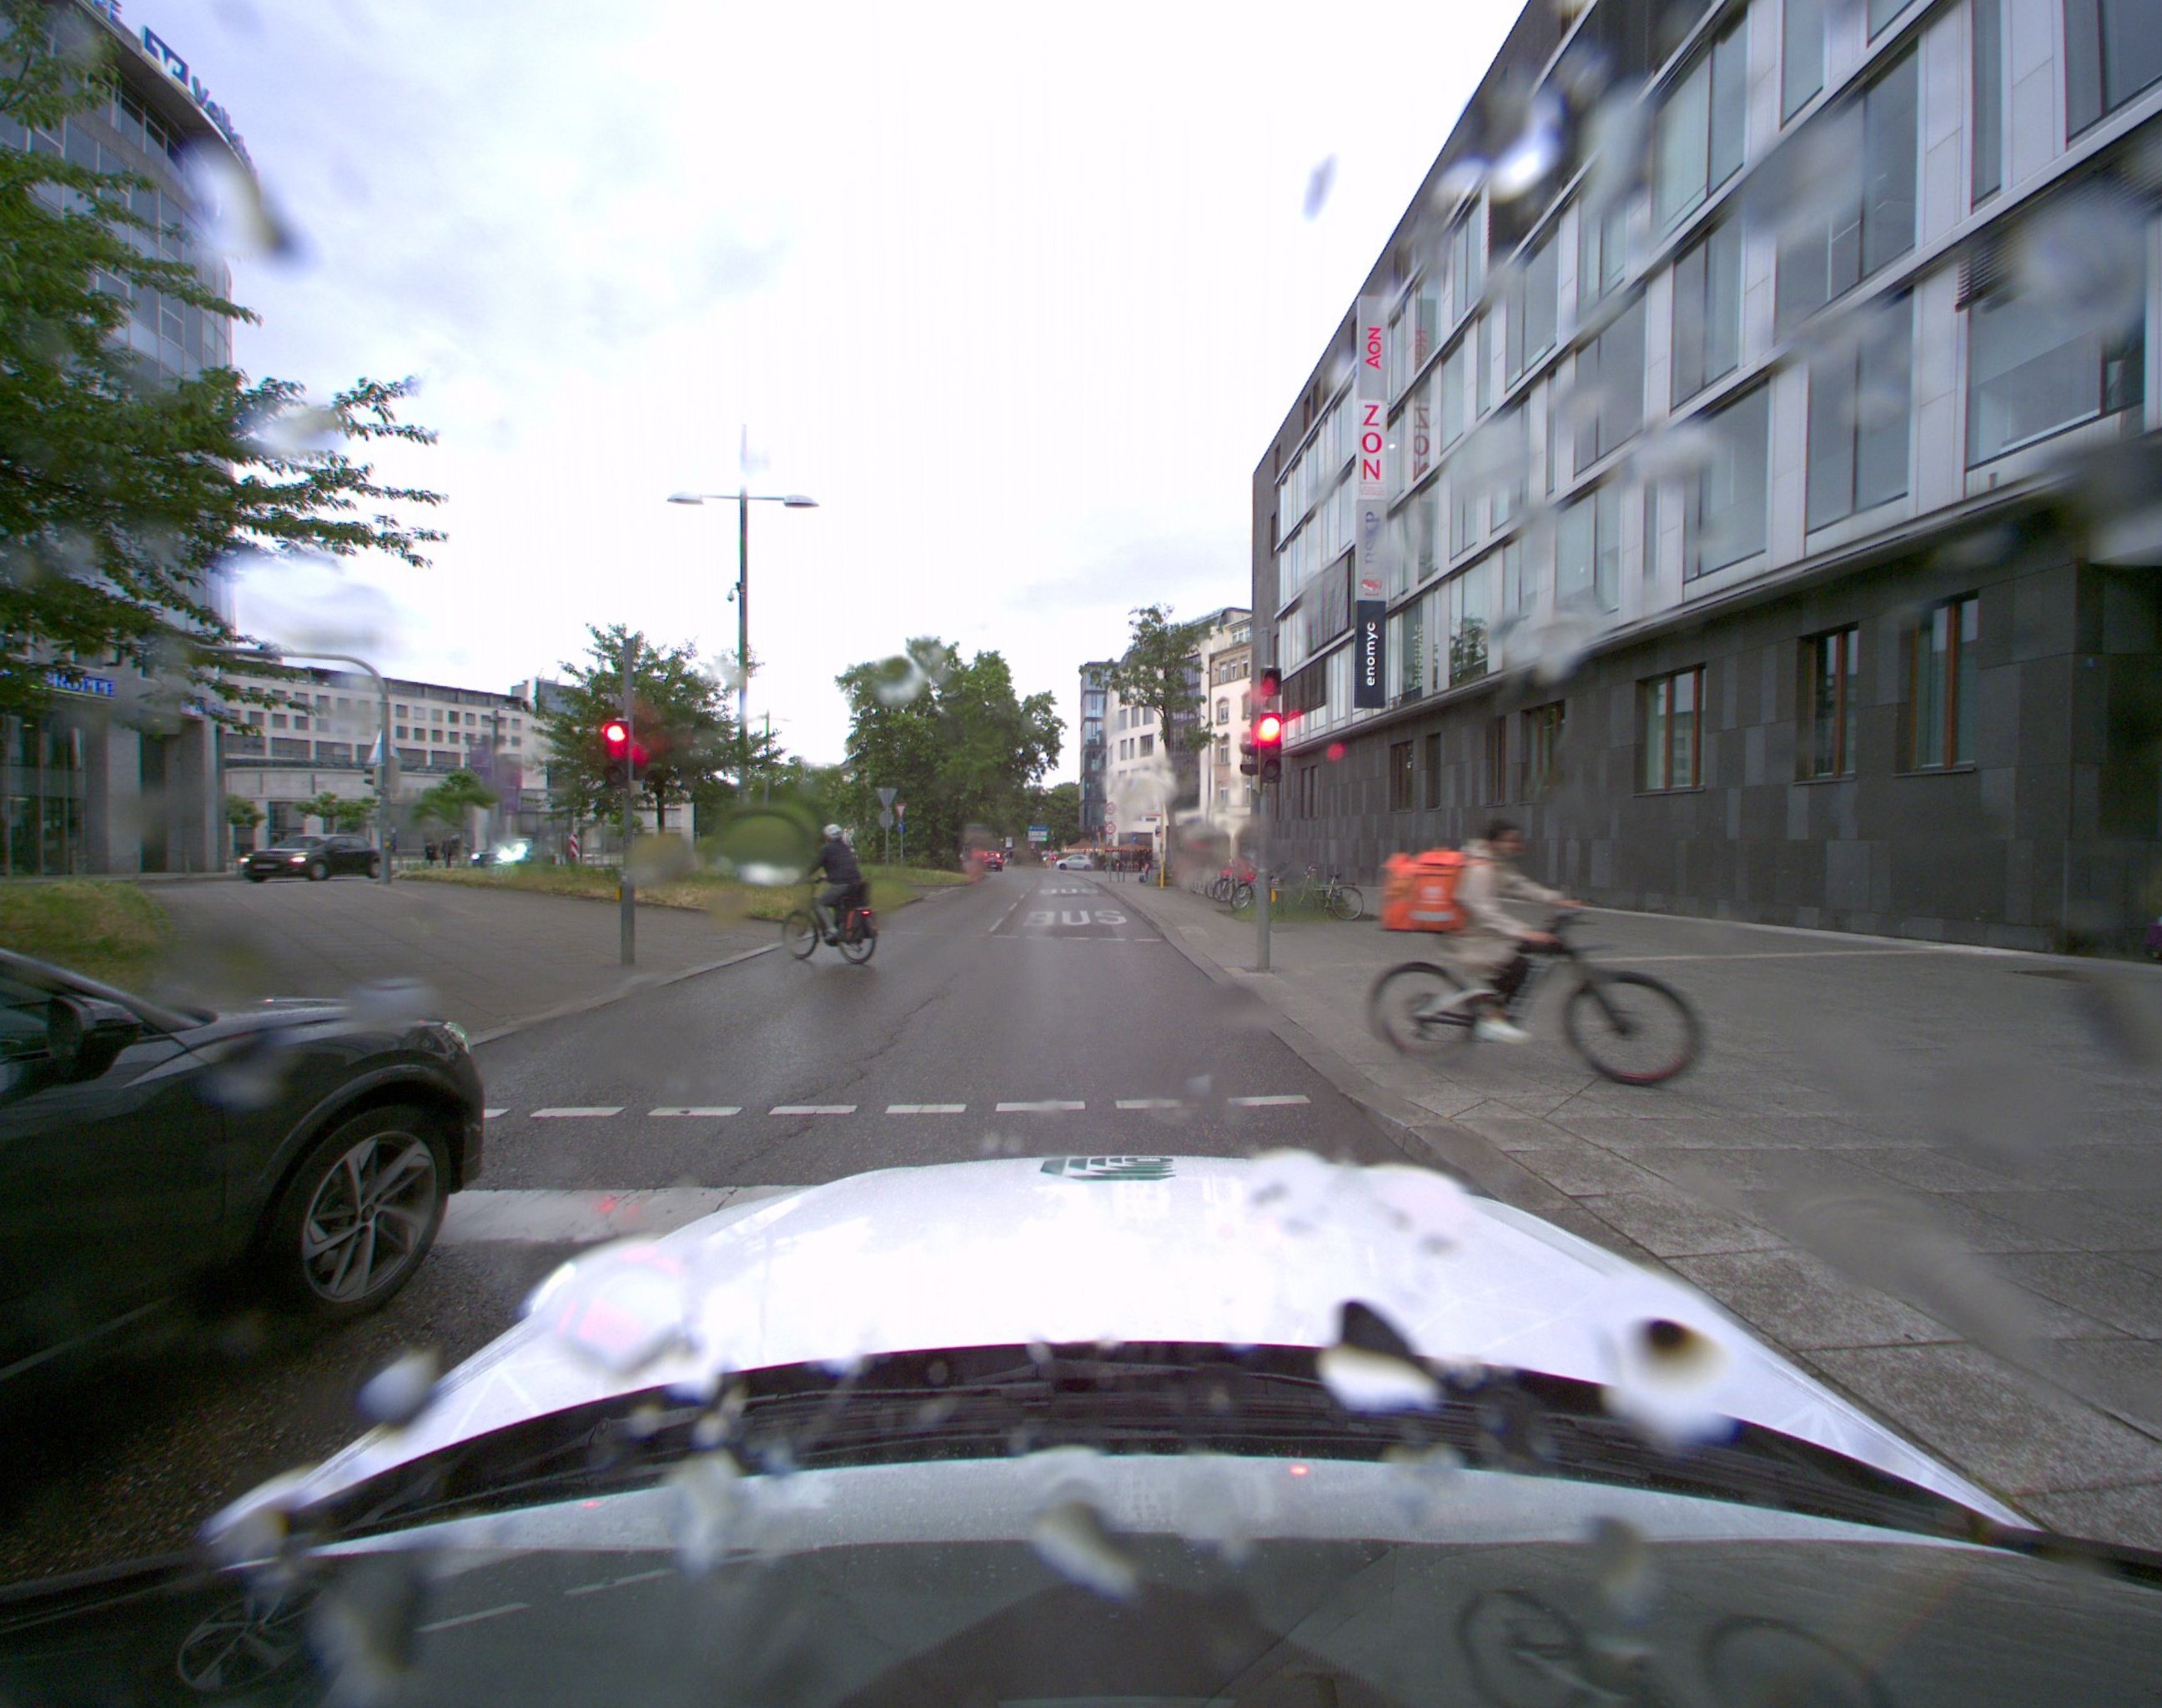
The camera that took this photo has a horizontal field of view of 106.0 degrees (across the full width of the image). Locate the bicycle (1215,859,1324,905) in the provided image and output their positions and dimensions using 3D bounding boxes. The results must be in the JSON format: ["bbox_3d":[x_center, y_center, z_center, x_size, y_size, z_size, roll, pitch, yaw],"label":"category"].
[{"bbox_3d":[4.602,0.676,19.988,2.530,1.087,0.677,-1,0,-3],"label":"bicycle"}]

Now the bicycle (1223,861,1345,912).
[{"bbox_3d":[4.456,0.711,17.961,2.530,1.087,0.677,0,0,-3],"label":"bicycle"}]

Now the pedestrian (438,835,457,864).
[{"bbox_3d":[-39.037,-0.286,50.194,0.621,1.763,0.721,-2,0,-18],"label":"pedestrian"}]

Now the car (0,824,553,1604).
[{"bbox_3d":[-3.141,0.738,1.341,1.843,1.616,4.249,1,1,-2],"label":"car"}]

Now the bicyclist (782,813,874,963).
[{"bbox_3d":[-3.694,0.479,11.898,1.071,2.083,0.768,-1,-1,31],"label":"bicyclist"}]

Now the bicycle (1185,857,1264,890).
[{"bbox_3d":[4.785,0.645,27.197,2.530,1.087,0.677,-1,0,-3],"label":"bicycle"}]

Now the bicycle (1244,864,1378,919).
[{"bbox_3d":[4.636,0.741,16.479,2.530,1.057,0.677,0,0,-3],"label":"bicycle"}]

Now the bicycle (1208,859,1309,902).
[{"bbox_3d":[4.698,0.692,21.652,2.530,1.087,0.677,-1,0,-3],"label":"bicycle"}]

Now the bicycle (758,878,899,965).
[{"bbox_3d":[-3.714,0.945,11.920,2.105,1.145,0.768,-1,-1,31],"label":"bicycle"}]

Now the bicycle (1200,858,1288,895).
[{"bbox_3d":[4.919,0.663,24.622,2.530,1.087,0.677,-1,0,-3],"label":"bicycle"}]

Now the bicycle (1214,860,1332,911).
[{"bbox_3d":[4.405,0.715,18.767,2.530,1.087,0.677,2,0,-3],"label":"bicycle"}]

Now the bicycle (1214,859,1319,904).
[{"bbox_3d":[4.728,0.696,20.841,2.530,1.087,0.677,-1,0,-3],"label":"bicycle"}]

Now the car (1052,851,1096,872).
[{"bbox_3d":[-0.644,0.726,76.720,3.971,1.647,2.001,4,0,2],"label":"car"}]

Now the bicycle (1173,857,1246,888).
[{"bbox_3d":[4.654,0.657,29.560,2.530,1.087,0.627,-1,0,-3],"label":"bicycle"}]

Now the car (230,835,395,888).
[{"bbox_3d":[-24.189,0.225,25.866,1.804,1.486,3.988,2,0,-9],"label":"car"}]

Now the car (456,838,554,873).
[{"bbox_3d":[-26.341,0.068,37.449,1.803,1.486,4.372,2,0,-8],"label":"car"}]

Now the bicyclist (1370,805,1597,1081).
[{"bbox_3d":[2.682,0.502,5.413,1.121,1.582,1.021,2,0,37],"label":"bicyclist"}]

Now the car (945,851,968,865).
[{"bbox_3d":[-14.670,0.425,95.874,1.950,1.646,4.219,0,0,-18],"label":"car"}]

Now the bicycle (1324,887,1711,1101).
[{"bbox_3d":[2.786,0.790,5.308,2.040,1.114,1.018,-3,-4,37],"label":"bicycle"}]

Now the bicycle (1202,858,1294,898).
[{"bbox_3d":[4.789,0.678,23.427,2.530,1.087,0.677,-1,0,-3],"label":"bicycle"}]

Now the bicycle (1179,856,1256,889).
[{"bbox_3d":[4.689,0.635,28.089,2.530,1.087,0.677,-1,0,-3],"label":"bicycle"}]

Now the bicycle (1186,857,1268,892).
[{"bbox_3d":[4.726,0.662,26.445,2.530,1.087,0.677,-1,0,-3],"label":"bicycle"}]

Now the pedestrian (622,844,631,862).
[{"bbox_3d":[-51.440,-0.117,92.142,0.793,2.014,0.734,2,-1,-25],"label":"pedestrian"}]

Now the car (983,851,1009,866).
[{"bbox_3d":[-9.828,0.470,93.923,2.185,1.700,3.975,0,0,-18],"label":"car"}]

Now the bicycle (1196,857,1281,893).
[{"bbox_3d":[4.939,0.662,25.600,2.530,1.087,0.677,-1,0,-3],"label":"bicycle"}]

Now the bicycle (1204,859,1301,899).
[{"bbox_3d":[4.731,0.694,22.519,2.530,1.060,0.677,-1,0,-3],"label":"bicycle"}]

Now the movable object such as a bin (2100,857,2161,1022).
[{"bbox_3d":[8.769,0.668,5.976,0.729,1.264,1.444,-2,0,-1],"label":"movable object such as a bin"}]

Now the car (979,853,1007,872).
[{"bbox_3d":[-8.131,0.774,74.876,2.162,1.706,4.537,0,0,-11],"label":"car"}]

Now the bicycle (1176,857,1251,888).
[{"bbox_3d":[4.666,0.648,28.837,2.530,1.087,0.677,-1,0,-3],"label":"bicycle"}]
